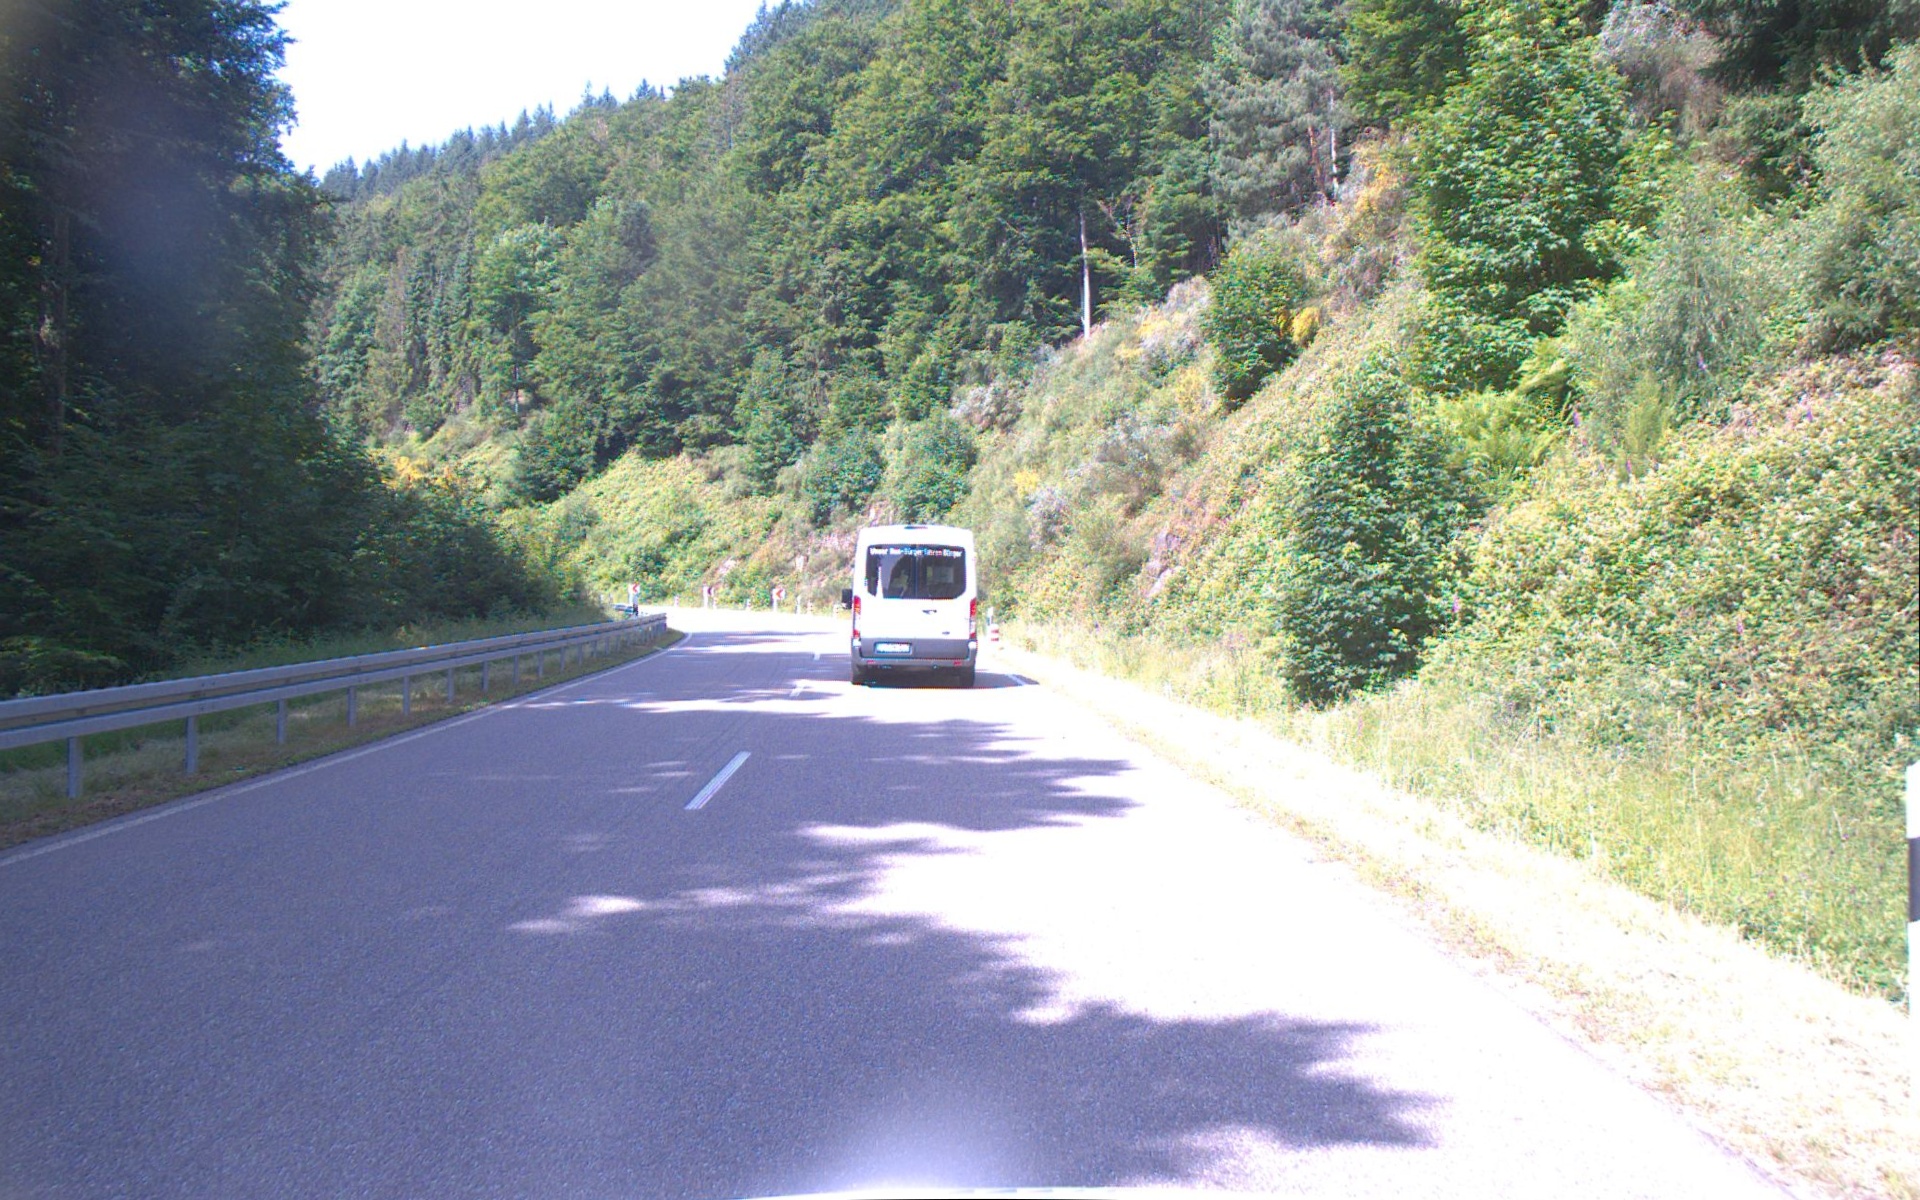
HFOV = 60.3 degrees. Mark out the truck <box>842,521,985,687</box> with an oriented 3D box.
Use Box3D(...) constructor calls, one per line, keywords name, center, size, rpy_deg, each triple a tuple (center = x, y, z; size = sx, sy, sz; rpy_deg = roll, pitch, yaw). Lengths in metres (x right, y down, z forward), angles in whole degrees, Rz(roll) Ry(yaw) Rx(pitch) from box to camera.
Box3D(name="truck", center=(-0.870, 0.048, 27.469), size=(2.043, 2.502, 4.869), rpy_deg=(0, 0, -5))
